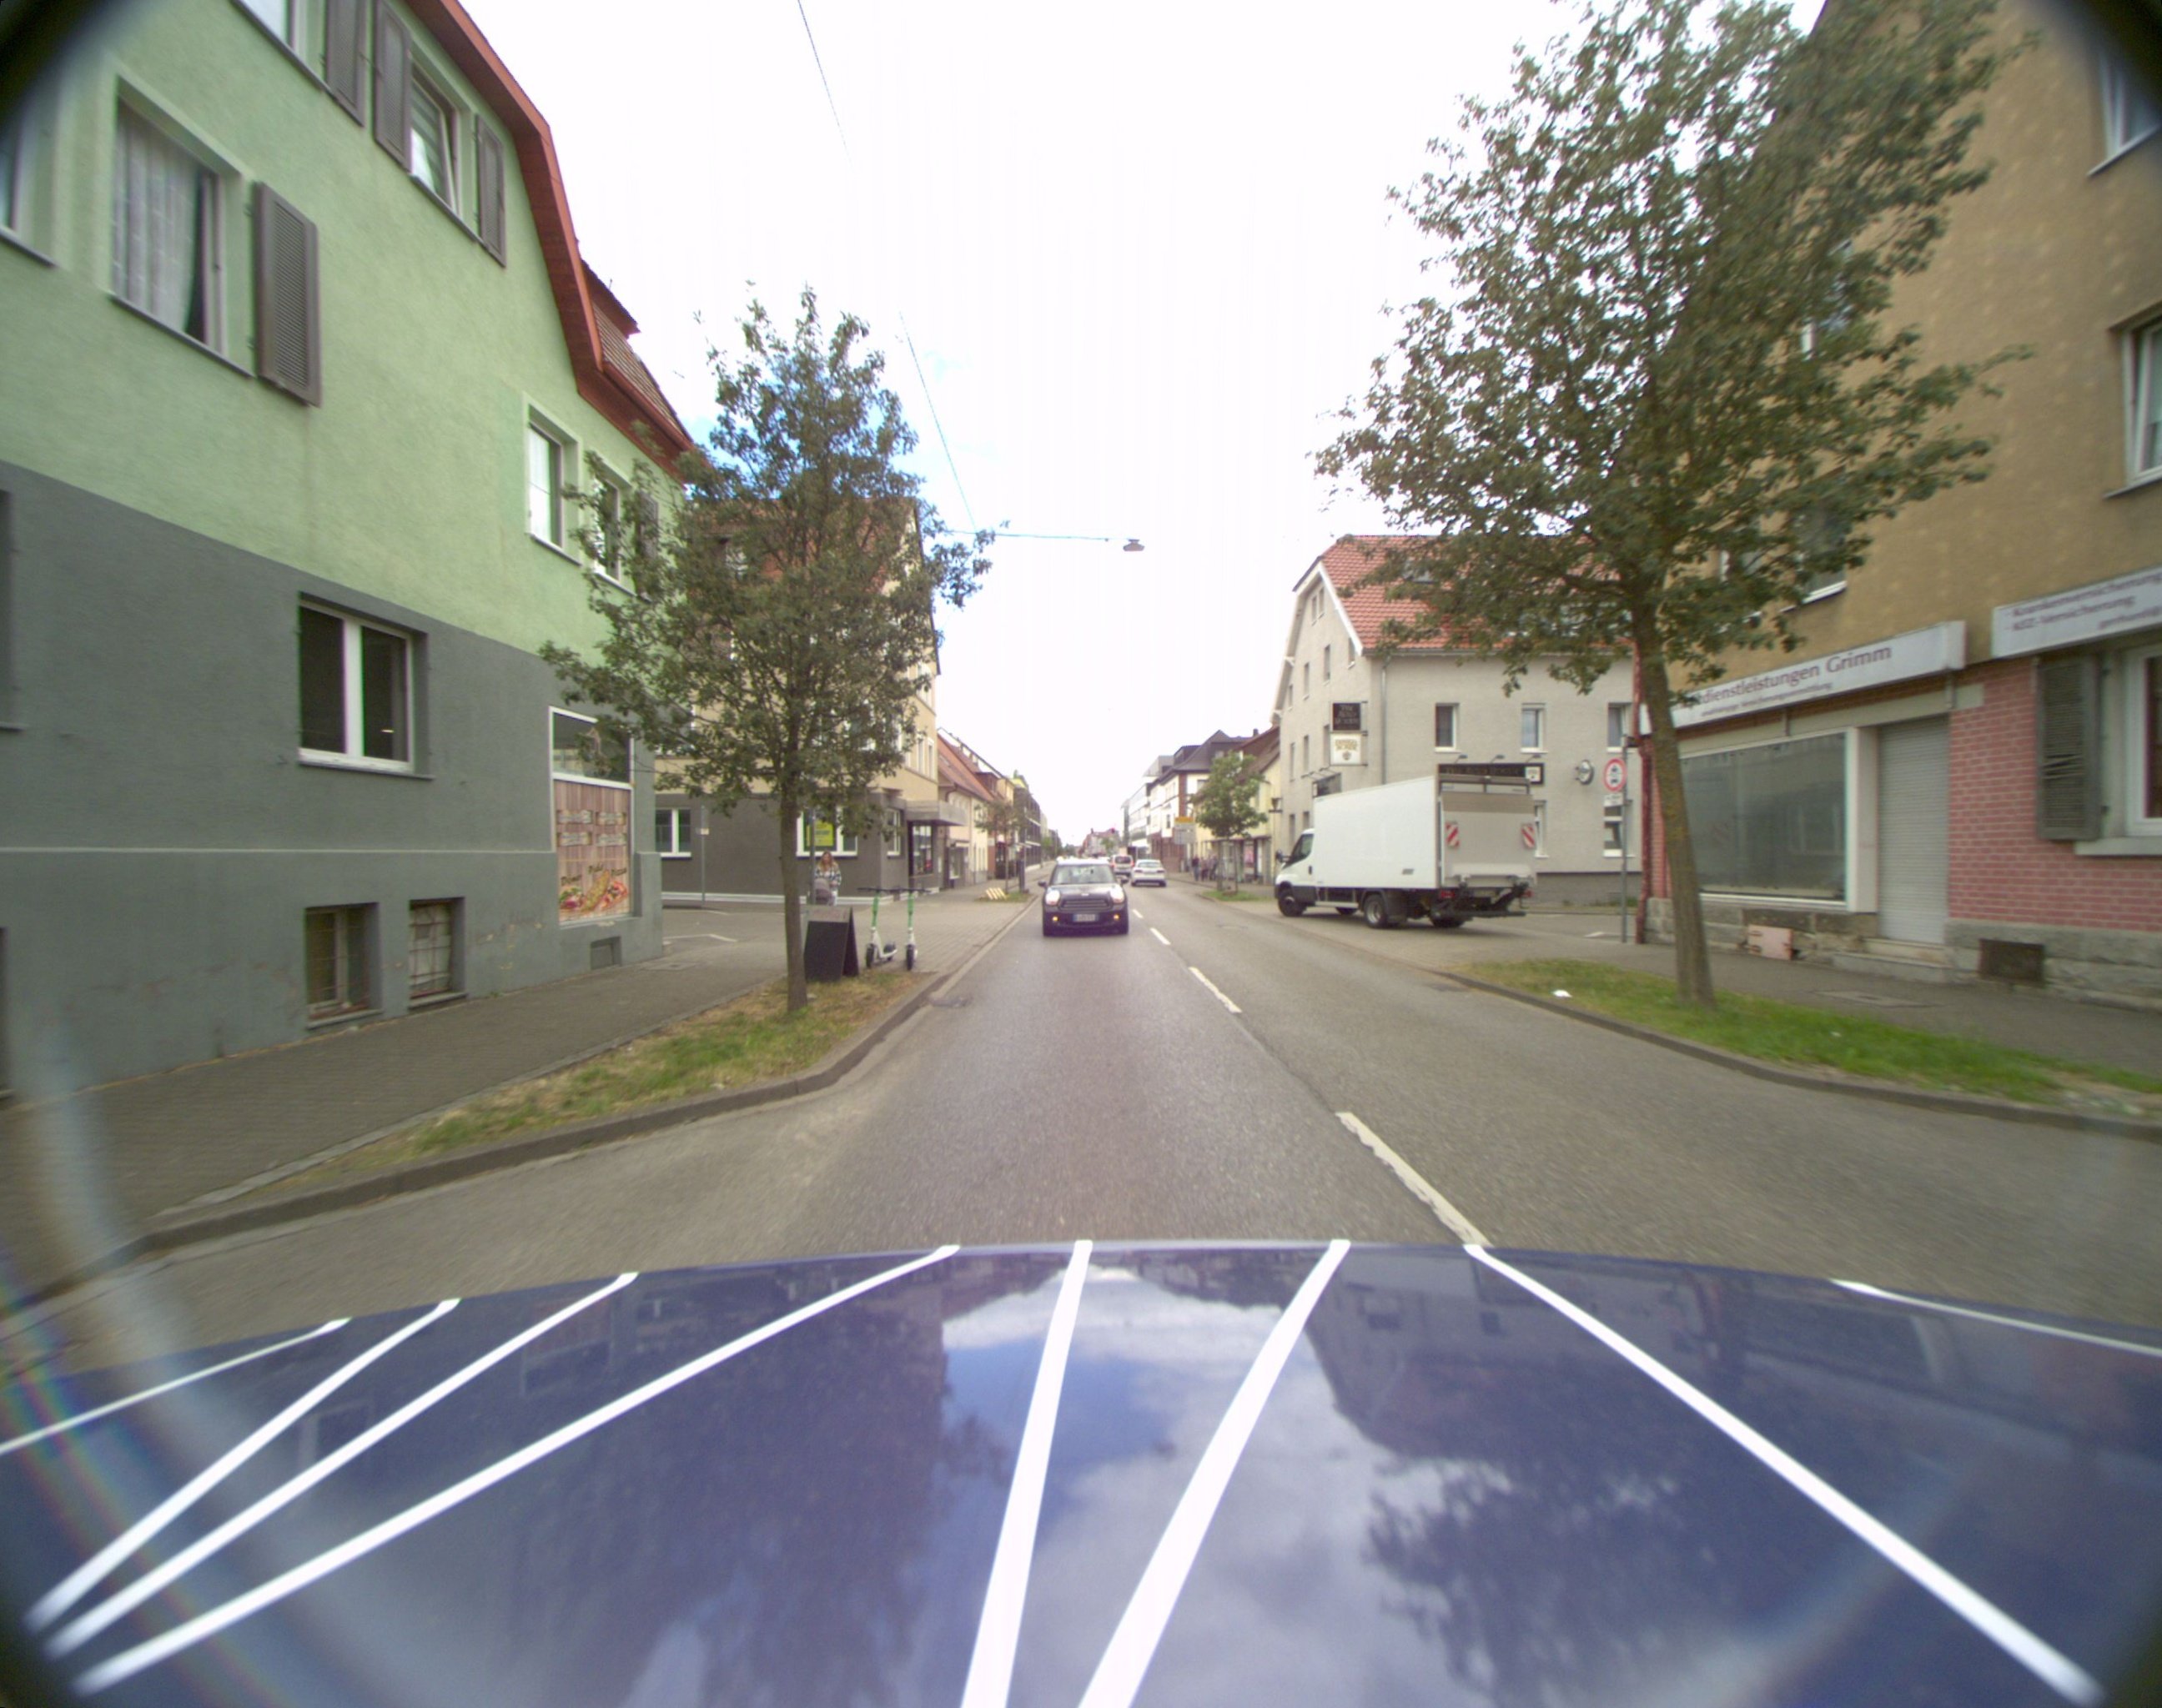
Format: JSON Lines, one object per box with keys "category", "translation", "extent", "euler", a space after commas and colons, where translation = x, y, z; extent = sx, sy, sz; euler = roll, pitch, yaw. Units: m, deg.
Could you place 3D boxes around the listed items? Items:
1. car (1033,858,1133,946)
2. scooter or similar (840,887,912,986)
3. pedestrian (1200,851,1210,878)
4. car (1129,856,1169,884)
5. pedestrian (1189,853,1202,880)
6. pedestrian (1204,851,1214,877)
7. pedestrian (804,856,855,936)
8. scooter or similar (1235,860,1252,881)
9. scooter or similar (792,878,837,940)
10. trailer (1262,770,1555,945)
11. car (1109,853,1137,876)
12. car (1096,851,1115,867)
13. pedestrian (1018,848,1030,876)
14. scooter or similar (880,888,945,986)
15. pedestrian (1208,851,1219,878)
{"category": "car", "translation": [0.045, 0.945, 16.878], "extent": [1.847, 1.571, 4.429], "euler": [-3, 0, 0]}
{"category": "scooter or similar", "translation": [-2.992, 1.158, 11.244], "extent": [0.503, 1.228, 1.942], "euler": [-1, 0, 0]}
{"category": "pedestrian", "translation": [7.826, 0.672, 48.055], "extent": [0.497, 1.727, 0.648], "euler": [0, 1, 0]}
{"category": "car", "translation": [3.723, 0.859, 42.159], "extent": [1.847, 1.425, 4.543], "euler": [1, 0, 0]}
{"category": "pedestrian", "translation": [7.353, 0.795, 48.805], "extent": [0.679, 1.727, 0.717], "euler": [0, 1, 0]}
{"category": "pedestrian", "translation": [8.338, 0.646, 49.577], "extent": [0.555, 1.727, 0.648], "euler": [0, 1, 0]}
{"category": "pedestrian", "translation": [-5.531, 0.903, 16.746], "extent": [0.752, 1.710, 0.900], "euler": [-1, 1, 1]}
{"category": "scooter or similar", "translation": [9.176, 0.927, 42.951], "extent": [0.529, 1.163, 1.721], "euler": [-1, 0, 0]}
{"category": "scooter or similar", "translation": [-5.528, 1.126, 15.824], "extent": [0.591, 1.225, 0.891], "euler": [-1, 1, 0]}
{"category": "trailer", "translation": [7.018, 0.004, 17.669], "extent": [2.512, 3.201, 7.125], "euler": [-1, 1, -13]}
{"category": "car", "translation": [3.367, 0.796, 61.221], "extent": [1.998, 1.785, 4.277], "euler": [0, 0, 0]}
{"category": "car", "translation": [2.461, 0.515, 78.064], "extent": [1.785, 1.543, 4.074], "euler": [2, 0, 0]}
{"category": "pedestrian", "translation": [-4.233, 0.580, 56.391], "extent": [0.826, 2.062, 1.010], "euler": [2, 1, -3]}
{"category": "scooter or similar", "translation": [-2.456, 1.163, 11.248], "extent": [0.503, 1.228, 1.942], "euler": [-1, 0, 0]}
{"category": "pedestrian", "translation": [8.401, 0.650, 48.139], "extent": [0.555, 1.727, 0.648], "euler": [0, 1, 0]}
